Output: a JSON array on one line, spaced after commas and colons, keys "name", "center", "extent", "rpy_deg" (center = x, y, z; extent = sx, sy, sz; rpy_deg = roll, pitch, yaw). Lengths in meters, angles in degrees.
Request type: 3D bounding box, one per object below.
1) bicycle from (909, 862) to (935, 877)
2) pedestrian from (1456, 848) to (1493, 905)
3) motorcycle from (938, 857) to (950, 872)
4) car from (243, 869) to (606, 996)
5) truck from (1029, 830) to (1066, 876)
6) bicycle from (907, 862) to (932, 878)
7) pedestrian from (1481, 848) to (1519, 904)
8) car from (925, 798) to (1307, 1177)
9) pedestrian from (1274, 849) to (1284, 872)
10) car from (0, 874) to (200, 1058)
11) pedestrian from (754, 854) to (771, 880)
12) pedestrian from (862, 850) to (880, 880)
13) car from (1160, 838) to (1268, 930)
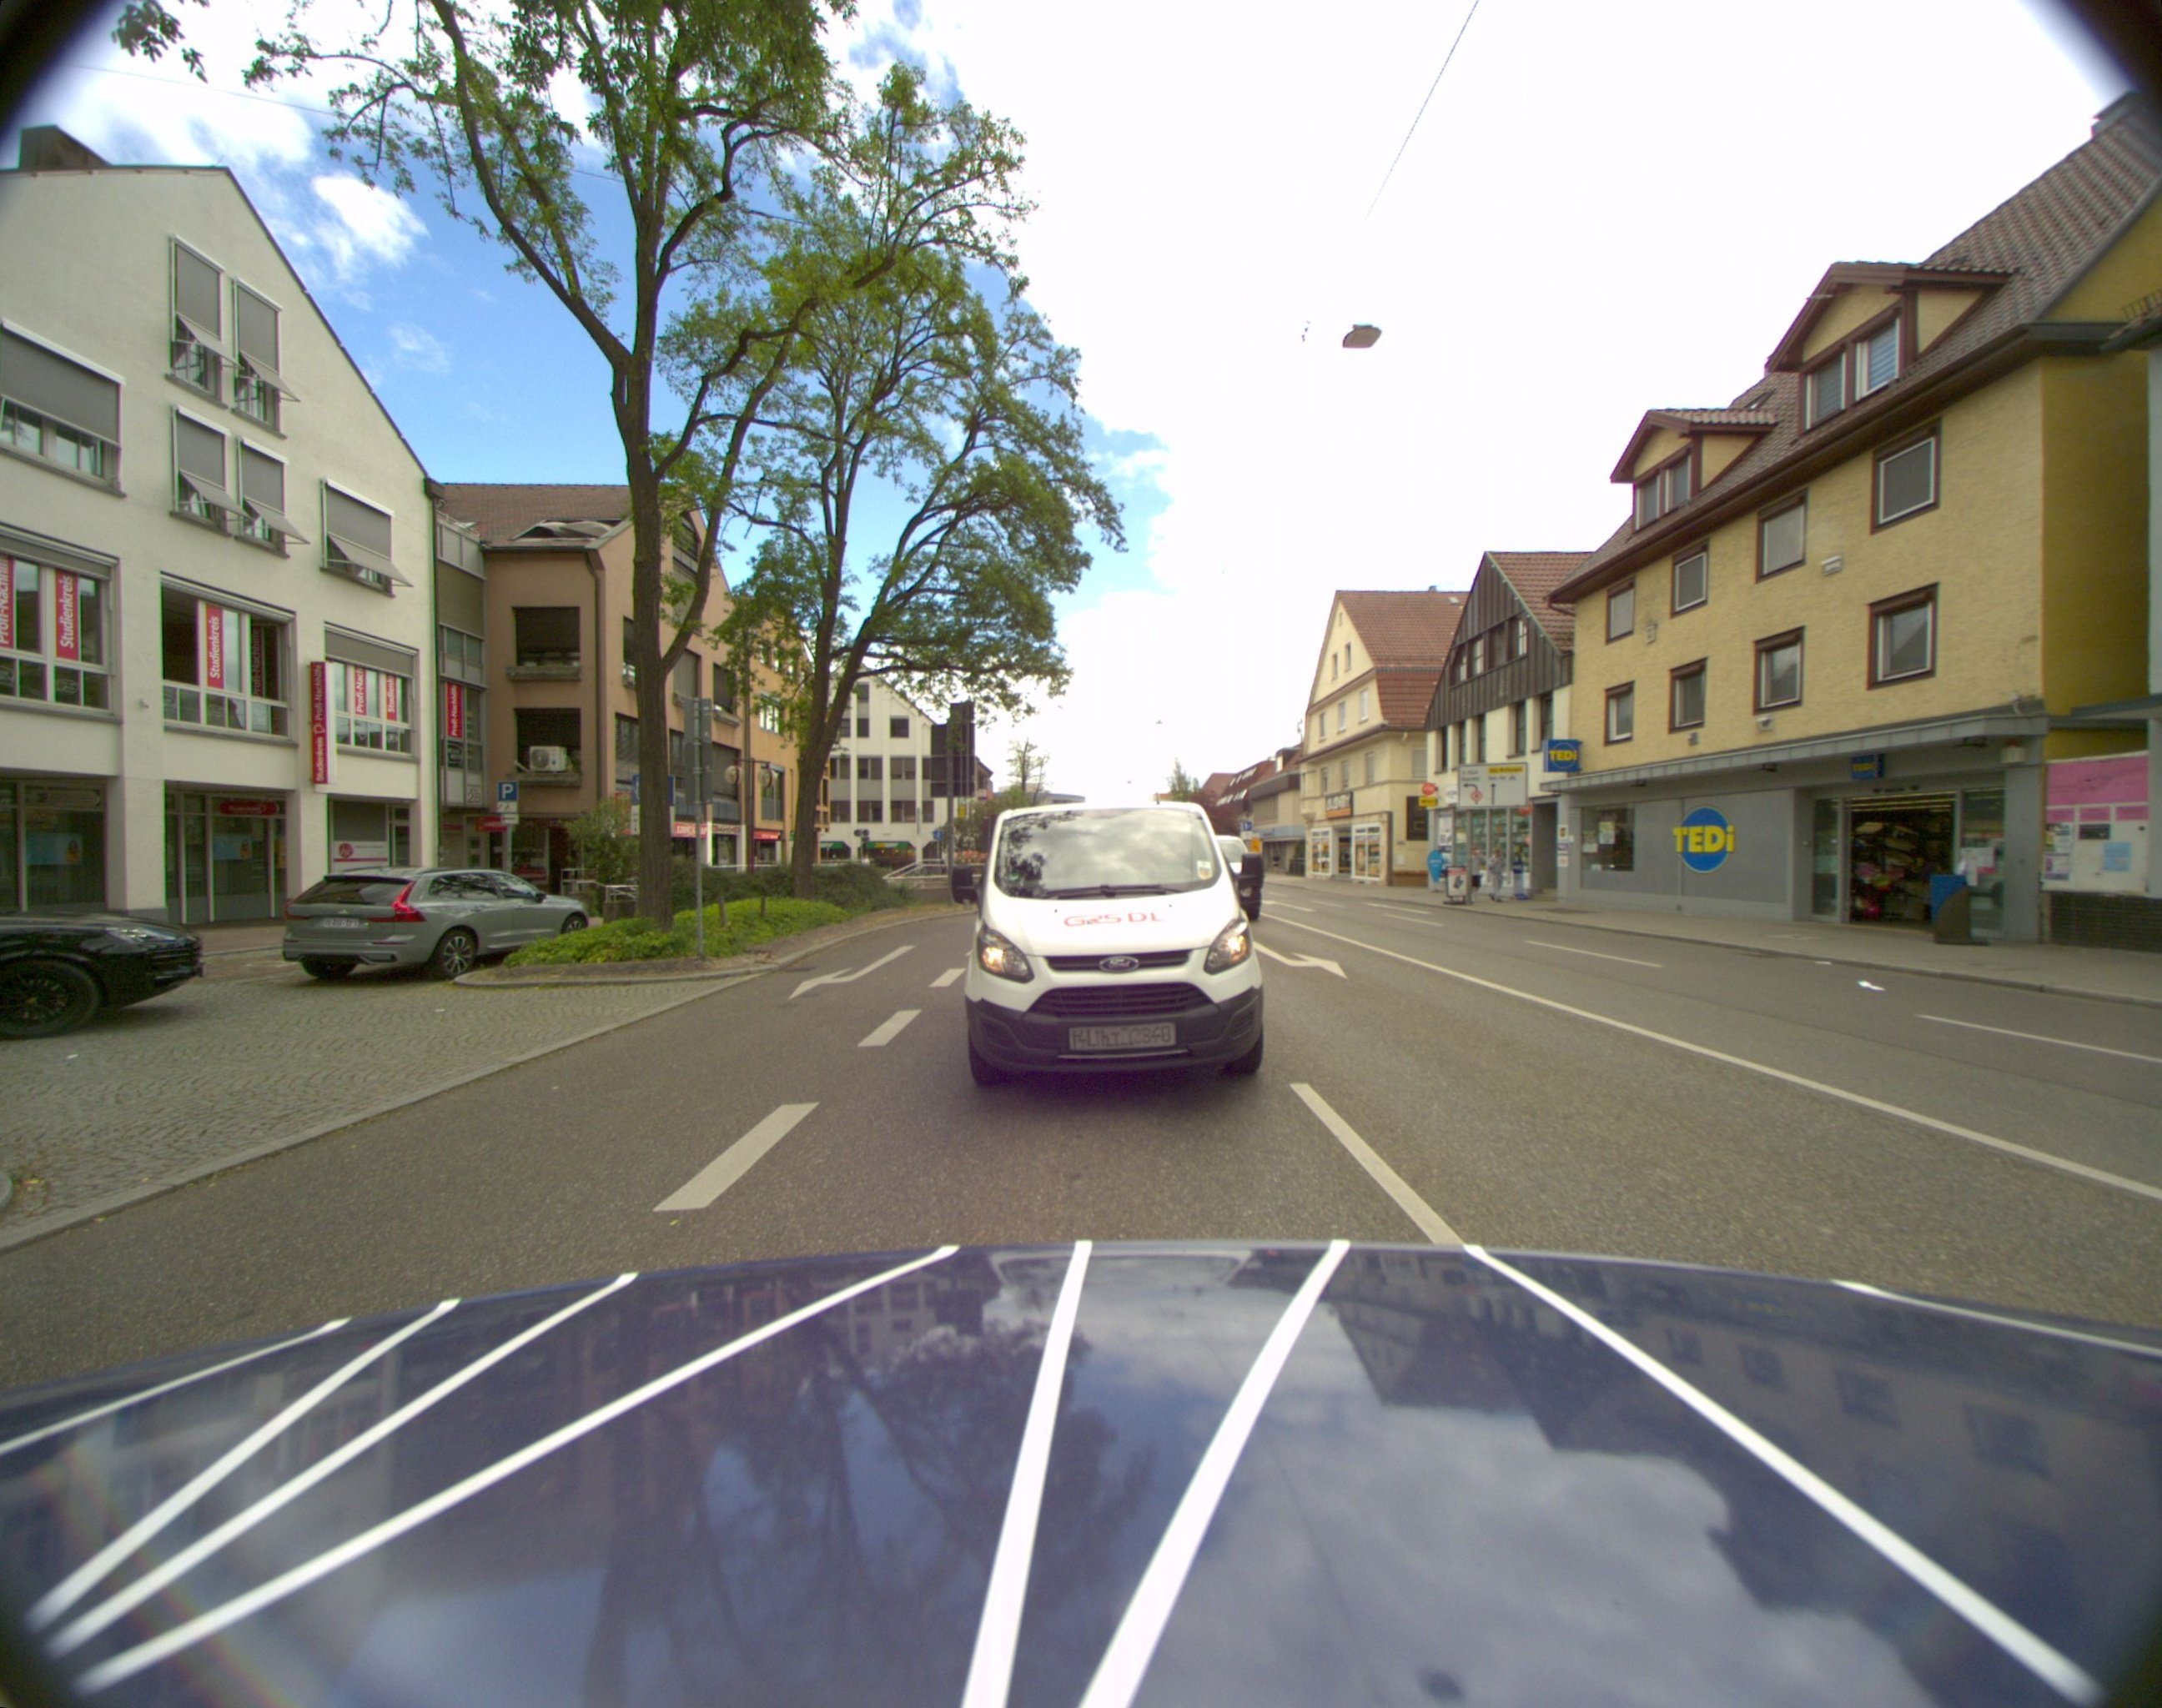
[{"name": "bicycle", "center": [-10.408, 1.034, 49.765], "extent": [1.594, 0.963, 0.461], "rpy_deg": [-1, 1, -14]}, {"name": "pedestrian", "center": [11.942, 0.678, 23.087], "extent": [0.689, 1.680, 0.742], "rpy_deg": [-2, 1, 0]}, {"name": "motorcycle", "center": [-9.800, 0.744, 54.353], "extent": [0.464, 1.062, 1.995], "rpy_deg": [-1, 0, 0]}, {"name": "car", "center": [-10.291, 1.100, 12.580], "extent": [1.999, 1.586, 4.762], "rpy_deg": [0, 0, -2]}, {"name": "truck", "center": [-2.699, -0.133, 63.446], "extent": [2.446, 3.464, 8.346], "rpy_deg": [-2, 1, 1]}, {"name": "bicycle", "center": [-10.426, 1.020, 49.055], "extent": [1.594, 0.996, 0.414], "rpy_deg": [-1, 1, -13]}, {"name": "pedestrian", "center": [12.736, 0.656, 23.095], "extent": [0.689, 1.660, 0.709], "rpy_deg": [-3, 1, 0]}, {"name": "car", "center": [0.199, 0.707, 6.634], "extent": [1.964, 1.948, 5.164], "rpy_deg": [-2, 0, 0]}, {"name": "pedestrian", "center": [16.295, 0.508, 62.562], "extent": [0.551, 1.878, 0.592], "rpy_deg": [-2, 1, -4]}, {"name": "car", "center": [-11.672, 1.072, 6.915], "extent": [1.853, 1.660, 4.673], "rpy_deg": [1, 0, 44]}, {"name": "pedestrian", "center": [-22.363, 0.912, 53.413], "extent": [0.887, 1.747, 0.943], "rpy_deg": [-1, 1, -11]}, {"name": "pedestrian", "center": [-13.097, 0.670, 47.456], "extent": [0.871, 1.812, 0.785], "rpy_deg": [-2, 1, -4]}, {"name": "car", "center": [3.069, 0.637, 18.513], "extent": [1.830, 1.948, 4.852], "rpy_deg": [-1, 0, 1]}]
